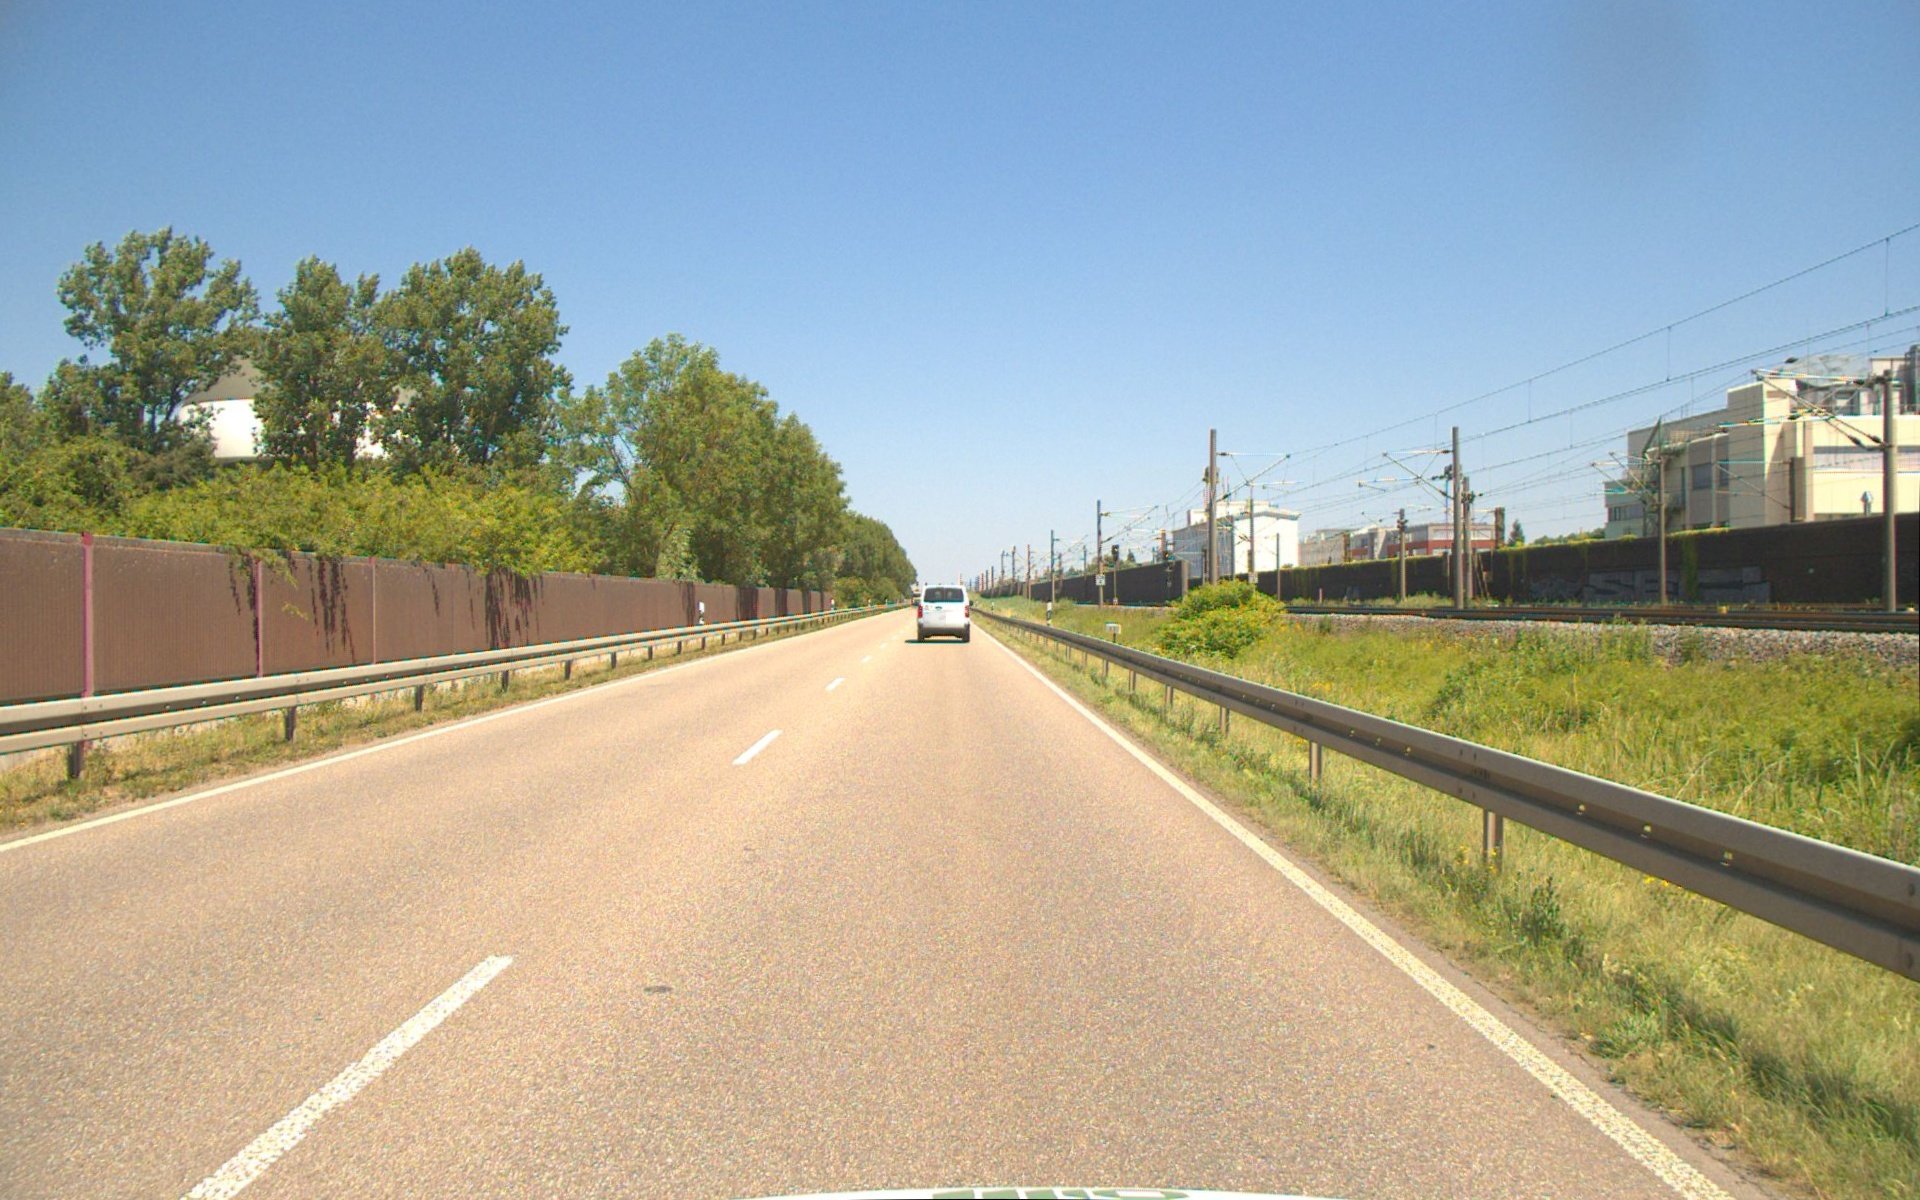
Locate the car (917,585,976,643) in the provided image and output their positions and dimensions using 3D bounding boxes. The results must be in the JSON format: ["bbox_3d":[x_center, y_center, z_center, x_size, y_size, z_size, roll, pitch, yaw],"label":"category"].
[{"bbox_3d":[-0.478,0.469,57.589,1.953,1.882,3.999,2,0,-1],"label":"car"}]
